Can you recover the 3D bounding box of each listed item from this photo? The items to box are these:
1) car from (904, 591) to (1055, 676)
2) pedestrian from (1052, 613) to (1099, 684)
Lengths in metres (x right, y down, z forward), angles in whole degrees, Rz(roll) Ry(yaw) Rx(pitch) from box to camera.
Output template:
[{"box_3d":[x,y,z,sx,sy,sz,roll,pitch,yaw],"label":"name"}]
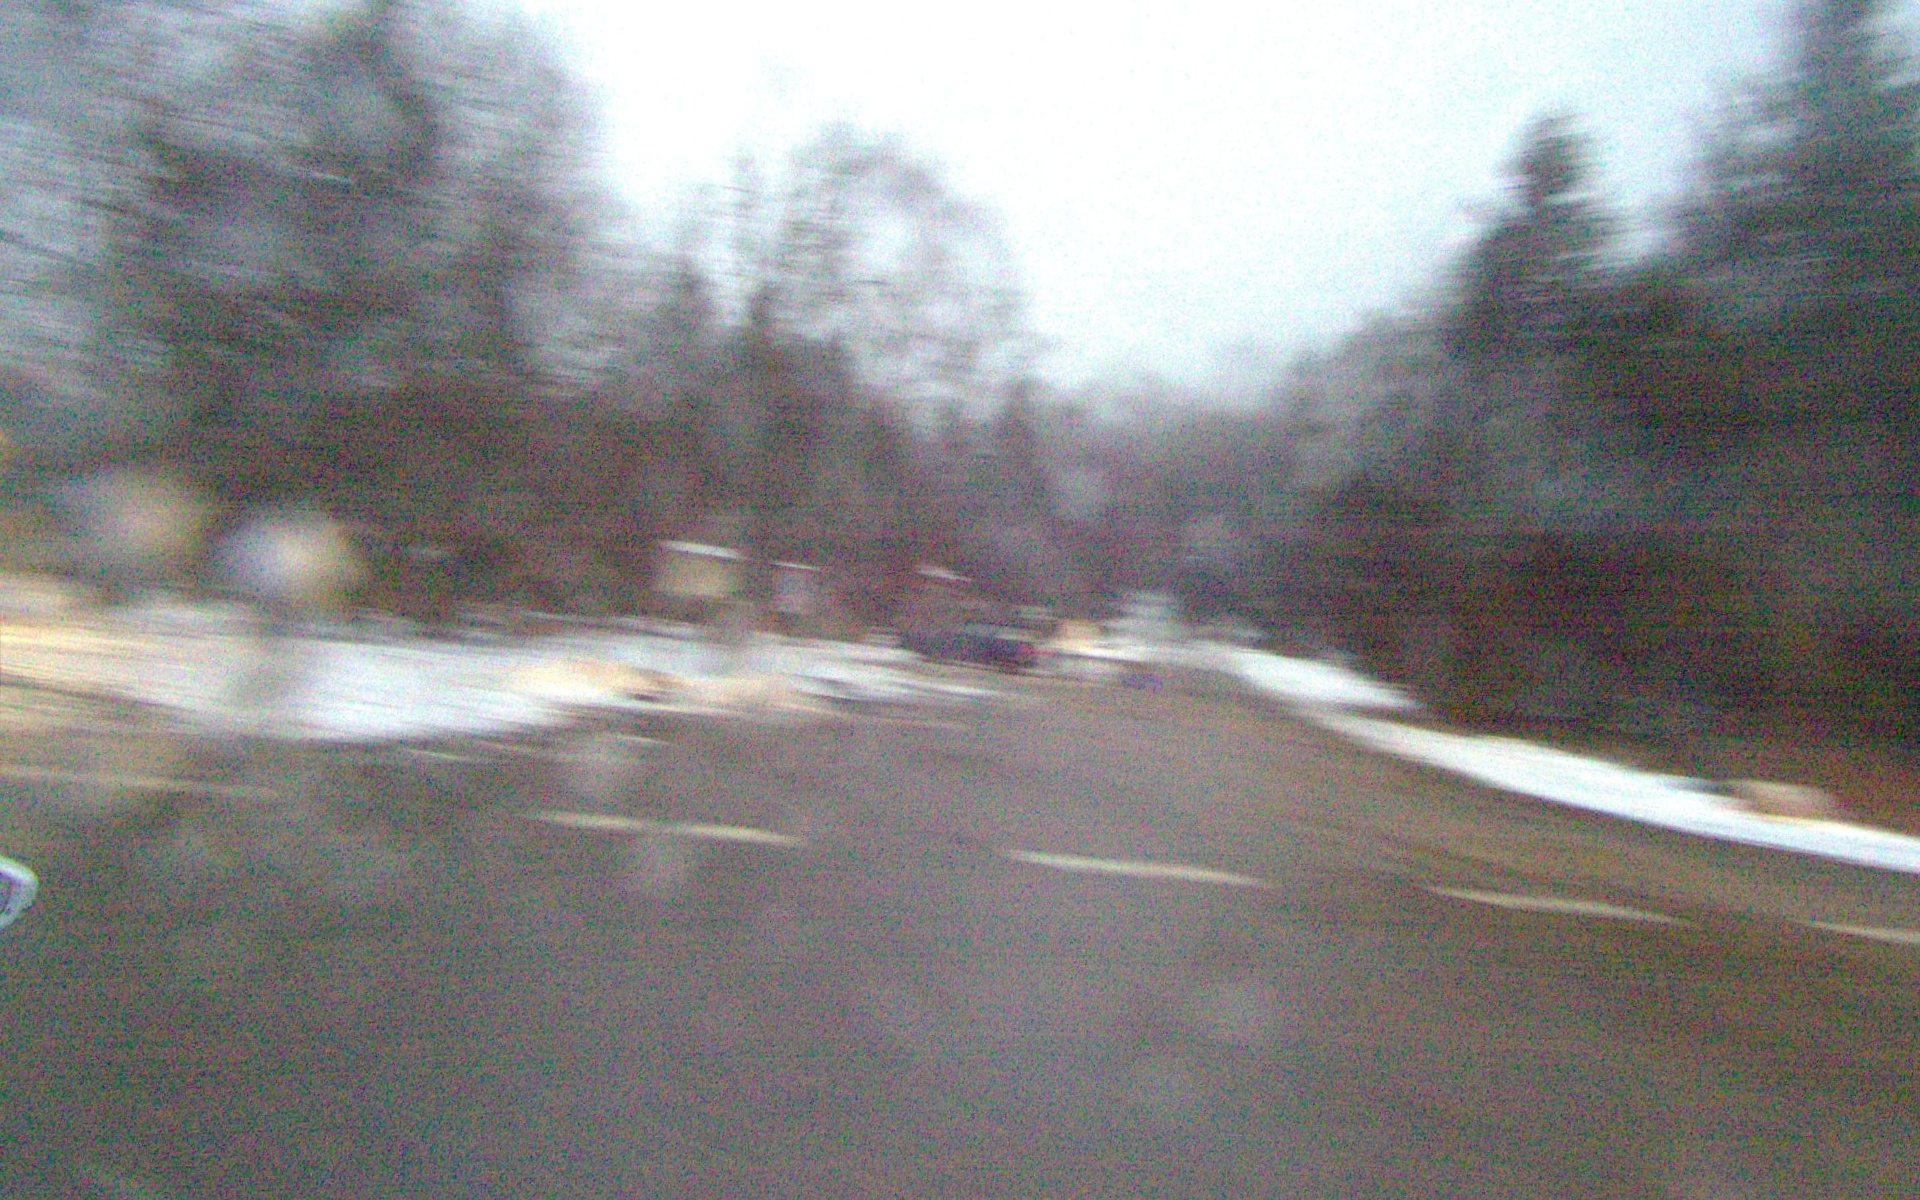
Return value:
[{"box_3d":[0.617,1.000,29.514,3.884,1.903,2.002,8,-1,14],"label":"car"},{"box_3d":[3.262,1.369,28.371,0.945,1.849,0.926,7,-1,18],"label":"pedestrian"}]
